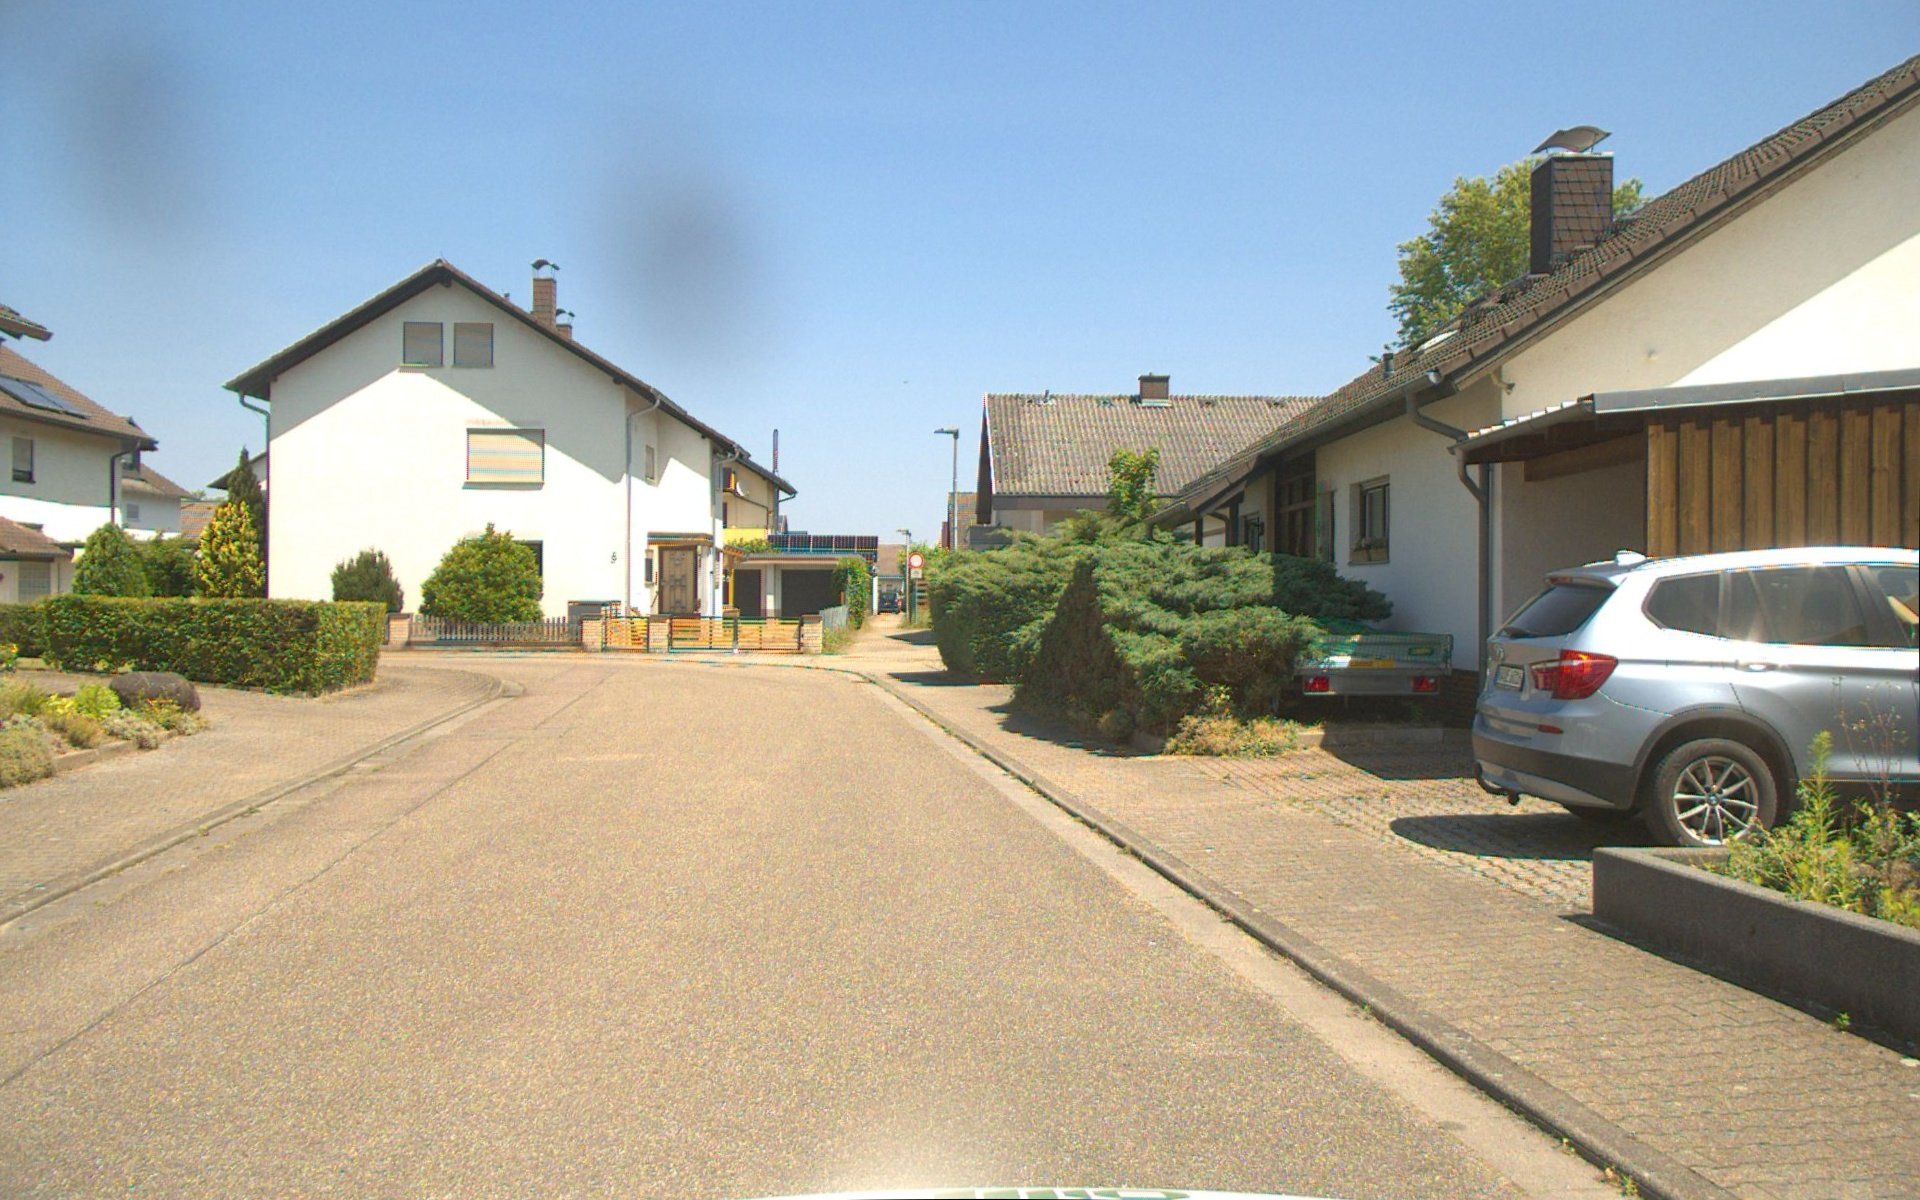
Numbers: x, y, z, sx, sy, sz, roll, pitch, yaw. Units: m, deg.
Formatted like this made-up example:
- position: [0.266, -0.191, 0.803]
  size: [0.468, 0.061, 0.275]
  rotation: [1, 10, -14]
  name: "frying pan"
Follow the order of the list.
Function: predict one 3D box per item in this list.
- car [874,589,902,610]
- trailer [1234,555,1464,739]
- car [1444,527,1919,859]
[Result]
- position: [-5.854, -0.037, 135.148]
  size: [2.149, 1.731, 3.806]
  rotation: [0, 0, -1]
  name: "car"
- position: [3.965, 0.423, 17.329]
  size: [1.555, 1.701, 3.296]
  rotation: [-2, 1, -1]
  name: "trailer"
- position: [5.384, 0.466, 9.761]
  size: [4.531, 1.732, 1.710]
  rotation: [-2, 0, 1]
  name: "car"
